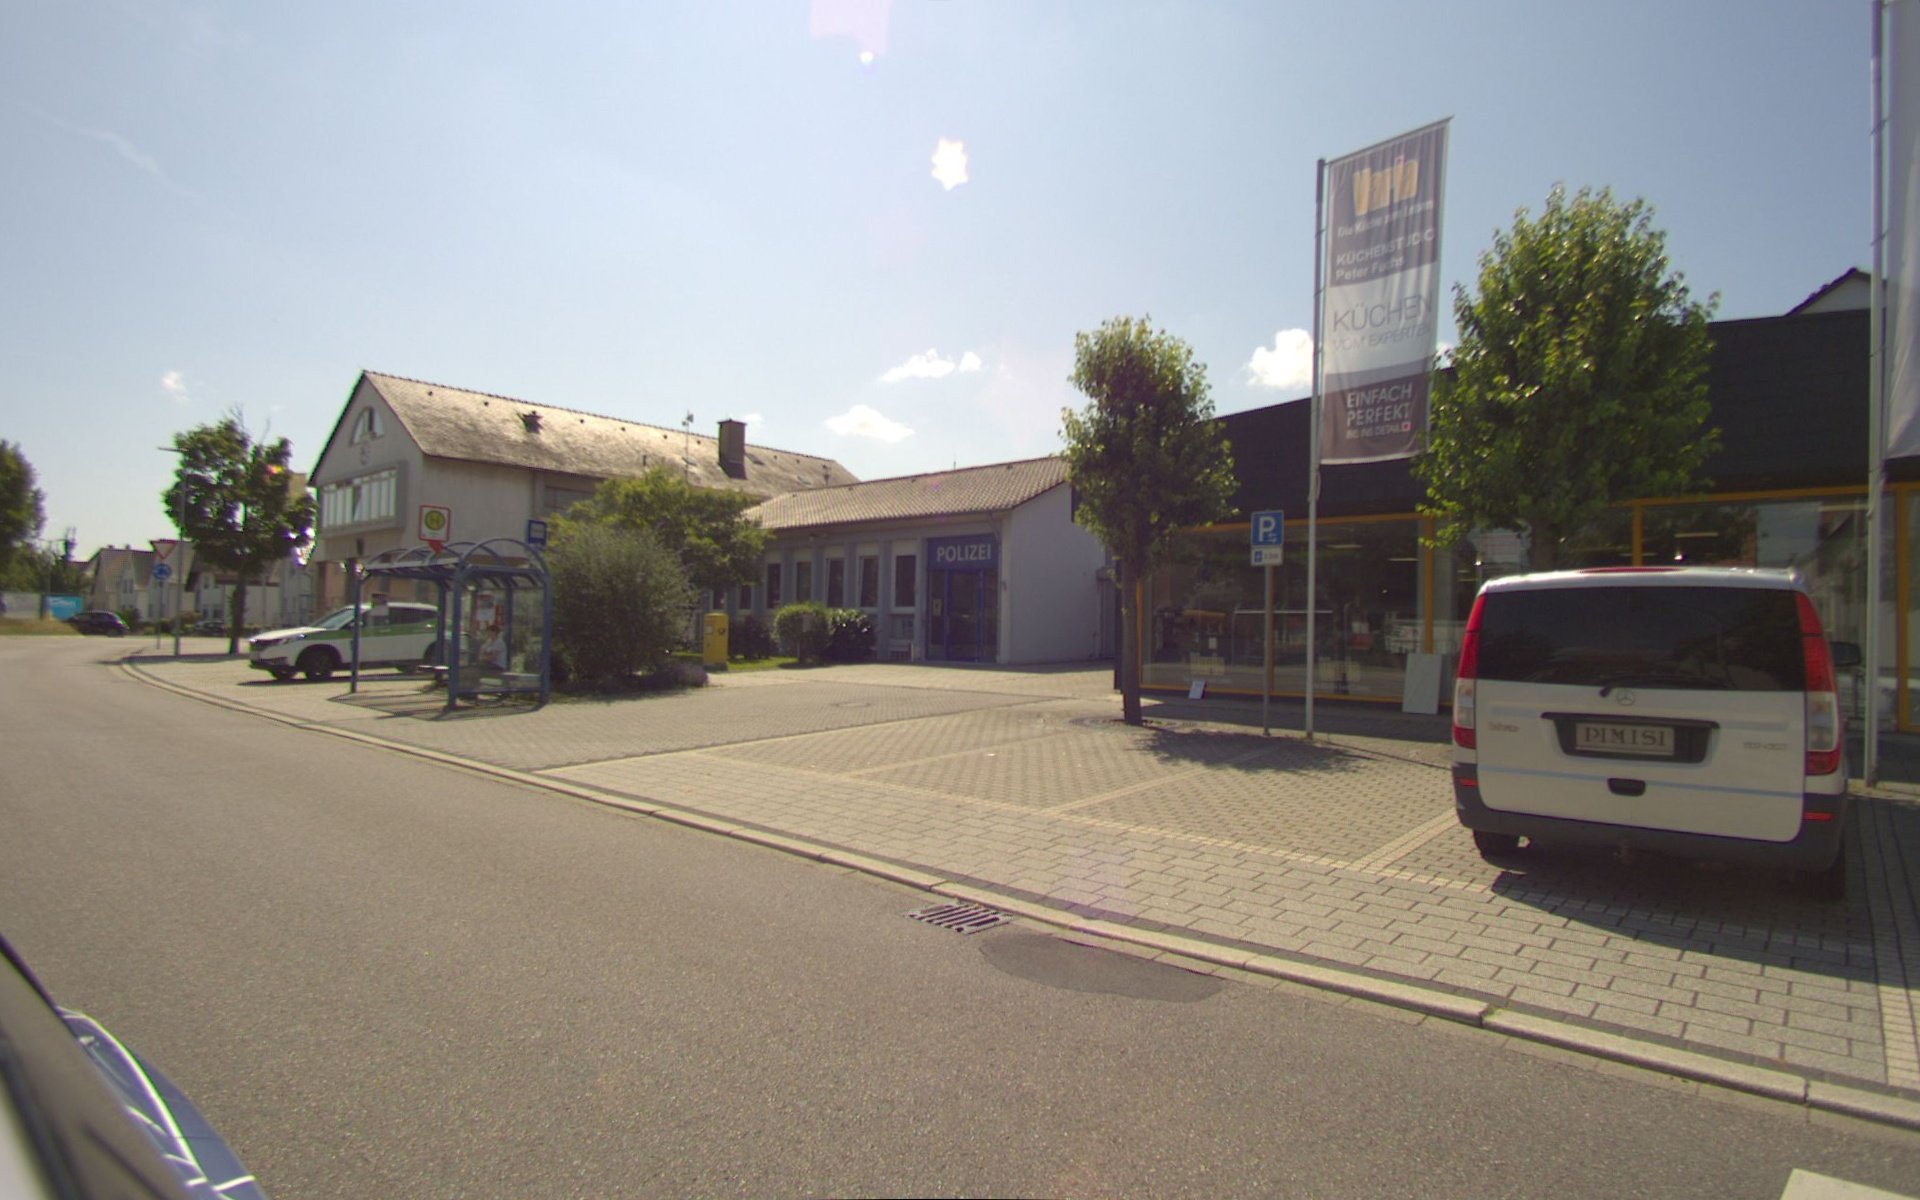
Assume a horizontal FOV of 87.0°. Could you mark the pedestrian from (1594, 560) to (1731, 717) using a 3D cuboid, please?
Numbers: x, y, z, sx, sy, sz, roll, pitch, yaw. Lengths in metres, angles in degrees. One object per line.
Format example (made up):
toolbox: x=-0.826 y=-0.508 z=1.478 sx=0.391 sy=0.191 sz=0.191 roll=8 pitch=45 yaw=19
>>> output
pedestrian: x=8.424 y=0.453 z=12.186 sx=0.922 sy=1.788 sz=1.069 roll=1 pitch=-1 yaw=4

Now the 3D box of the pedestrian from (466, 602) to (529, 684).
pedestrian: x=-7.887 y=0.721 z=17.252 sx=0.607 sy=1.368 sz=0.776 roll=0 pitch=-1 yaw=41

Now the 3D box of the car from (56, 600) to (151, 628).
car: x=-48.420 y=0.798 z=57.316 sx=3.934 sy=1.504 sz=2.005 roll=0 pitch=0 yaw=-36

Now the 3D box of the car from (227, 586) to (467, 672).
car: x=-13.602 y=0.568 z=22.665 sx=1.941 sy=1.732 sz=4.202 roll=0 pitch=0 yaw=35

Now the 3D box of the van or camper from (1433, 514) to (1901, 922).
van or camper: x=5.061 y=0.555 z=7.110 sx=1.999 sy=1.876 sz=4.692 roll=-1 pitch=-1 yaw=40
